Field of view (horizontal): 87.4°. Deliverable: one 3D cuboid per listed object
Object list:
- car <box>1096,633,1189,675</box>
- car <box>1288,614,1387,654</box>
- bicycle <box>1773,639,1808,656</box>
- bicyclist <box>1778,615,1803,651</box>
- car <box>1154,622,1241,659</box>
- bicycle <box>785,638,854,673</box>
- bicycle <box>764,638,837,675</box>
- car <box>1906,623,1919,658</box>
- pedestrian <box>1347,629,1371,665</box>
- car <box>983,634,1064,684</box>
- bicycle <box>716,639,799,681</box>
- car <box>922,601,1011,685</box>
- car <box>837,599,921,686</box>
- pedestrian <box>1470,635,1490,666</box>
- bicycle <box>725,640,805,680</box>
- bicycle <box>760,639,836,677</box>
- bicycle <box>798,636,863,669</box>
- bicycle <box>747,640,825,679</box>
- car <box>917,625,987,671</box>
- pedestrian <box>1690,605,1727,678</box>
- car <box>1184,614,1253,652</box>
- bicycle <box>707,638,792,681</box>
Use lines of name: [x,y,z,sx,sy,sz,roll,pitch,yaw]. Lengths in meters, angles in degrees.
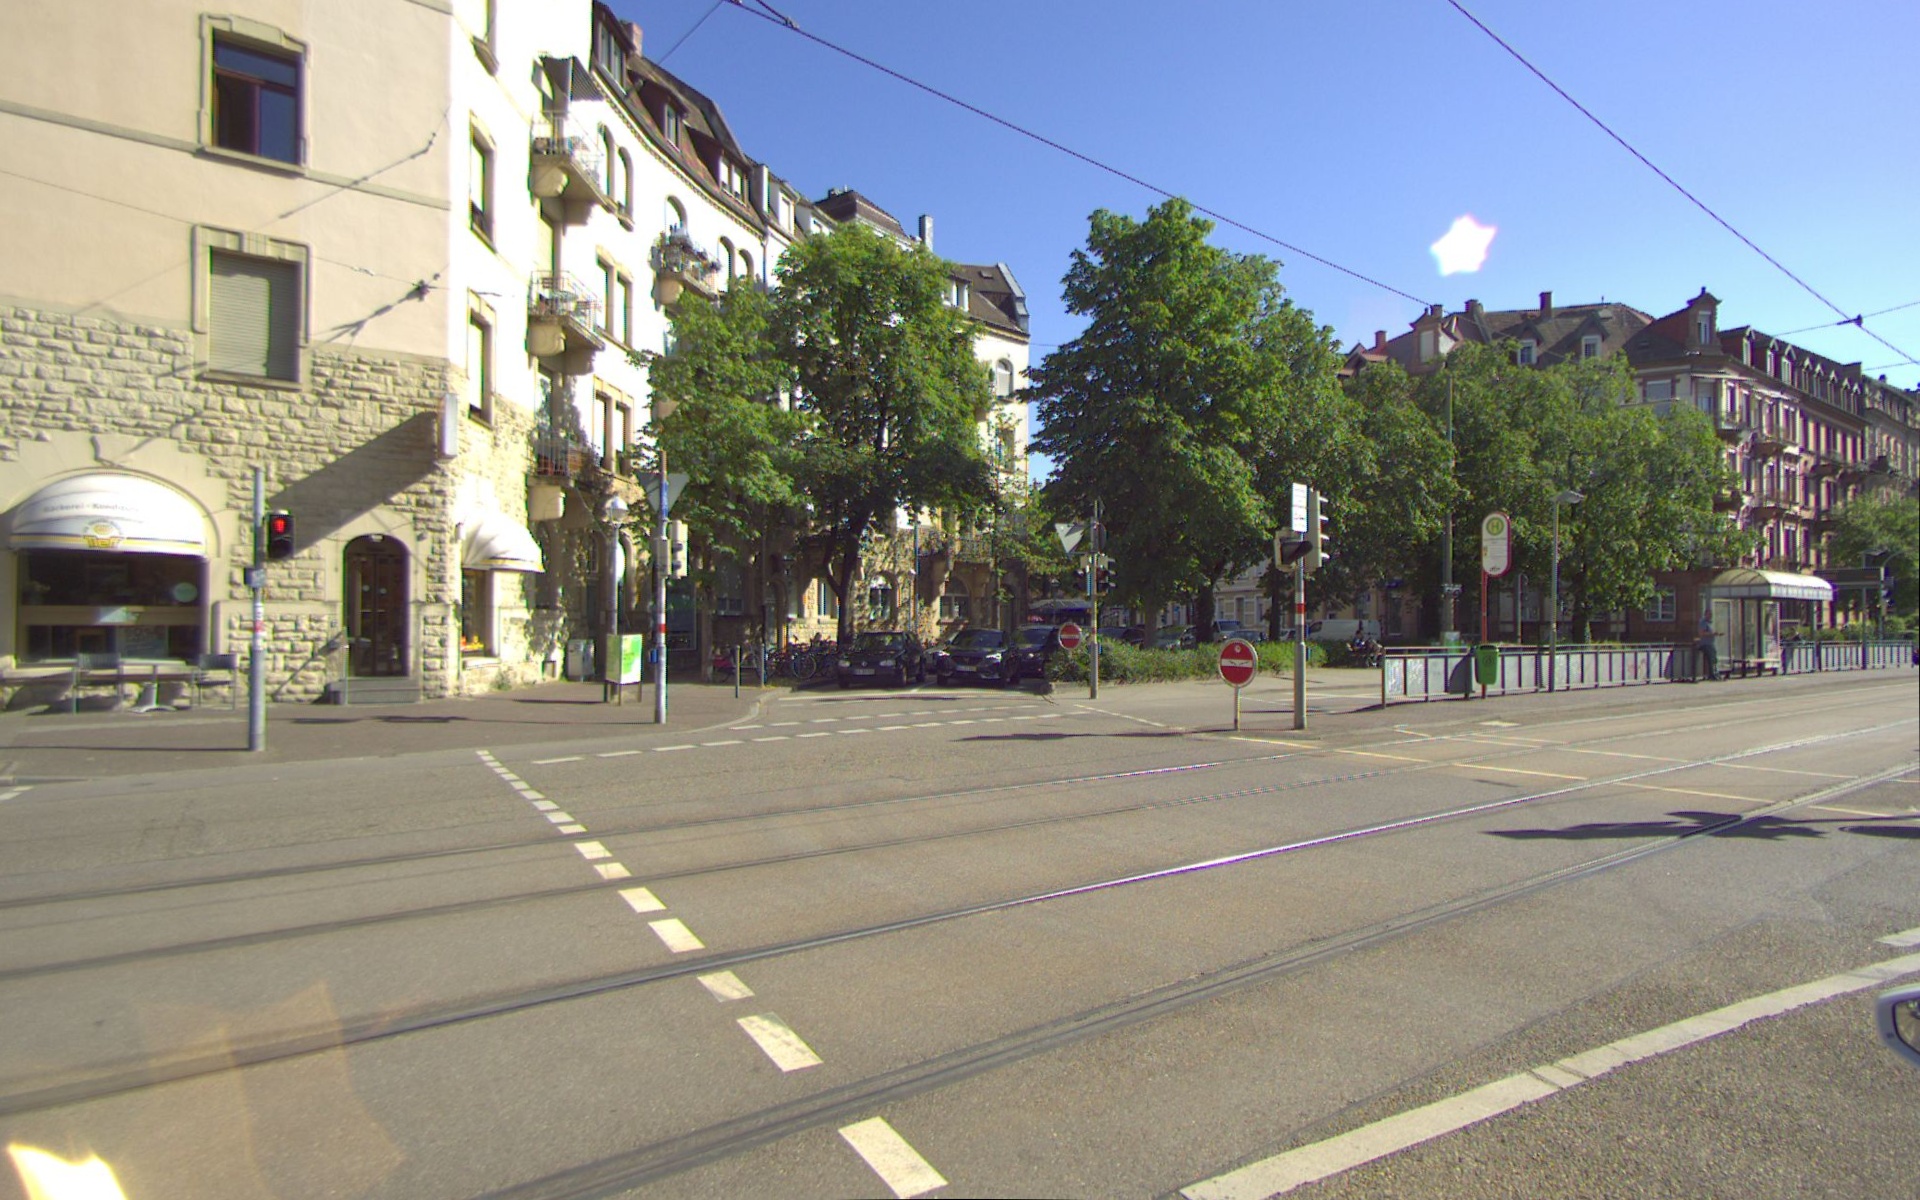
car: [7.138,2.070,39.106,1.728,1.450,3.978,-1,-1,42]
car: [20.763,1.862,55.394,1.977,2.040,4.989,2,-1,-30]
bicycle: [39.120,2.235,47.311,1.895,0.759,0.715,2,-1,-32]
bicyclist: [39.115,1.555,47.302,0.726,1.687,0.710,2,-1,-31]
car: [10.147,1.710,42.809,3.973,1.450,1.731,0,-1,-44]
bicycle: [-4.330,1.717,30.952,1.997,0.993,0.611,1,-1,4]
bicycle: [-4.686,1.651,29.539,1.997,0.993,0.611,1,-1,4]
car: [46.451,1.945,47.560,3.964,1.639,1.763,2,-1,-37]
pedestrian: [13.435,1.576,33.800,0.598,1.217,0.577,-1,-2,38]
car: [2.159,1.897,32.917,1.719,1.450,4.001,-1,-1,18]
bicycle: [-5.267,1.559,26.142,1.997,0.993,0.611,1,-1,4]
car: [0.092,1.088,26.758,1.962,2.040,3.997,2,-1,-5]
car: [-2.128,1.059,26.314,1.962,2.040,3.997,2,-1,-5]
pedestrian: [20.892,2.037,40.357,0.598,1.217,0.577,-1,-2,38]
bicycle: [-5.215,1.606,26.926,1.997,0.993,0.611,1,-1,4]
bicycle: [-4.594,1.653,28.541,1.997,0.993,0.611,1,-1,4]
bicycle: [-4.240,1.725,32.958,1.997,0.993,0.611,1,-1,4]
bicycle: [-4.798,1.626,27.701,1.997,0.993,0.611,1,-1,4]
car: [-0.226,1.606,34.774,1.718,1.450,4.003,-1,-1,10]
pedestrian: [19.157,1.059,25.713,0.574,1.819,0.601,1,-1,-37]
car: [15.172,1.909,59.228,1.967,2.040,4.575,2,-1,-15]
bicycle: [-5.300,1.502,25.345,1.997,0.993,0.611,1,-1,4]
